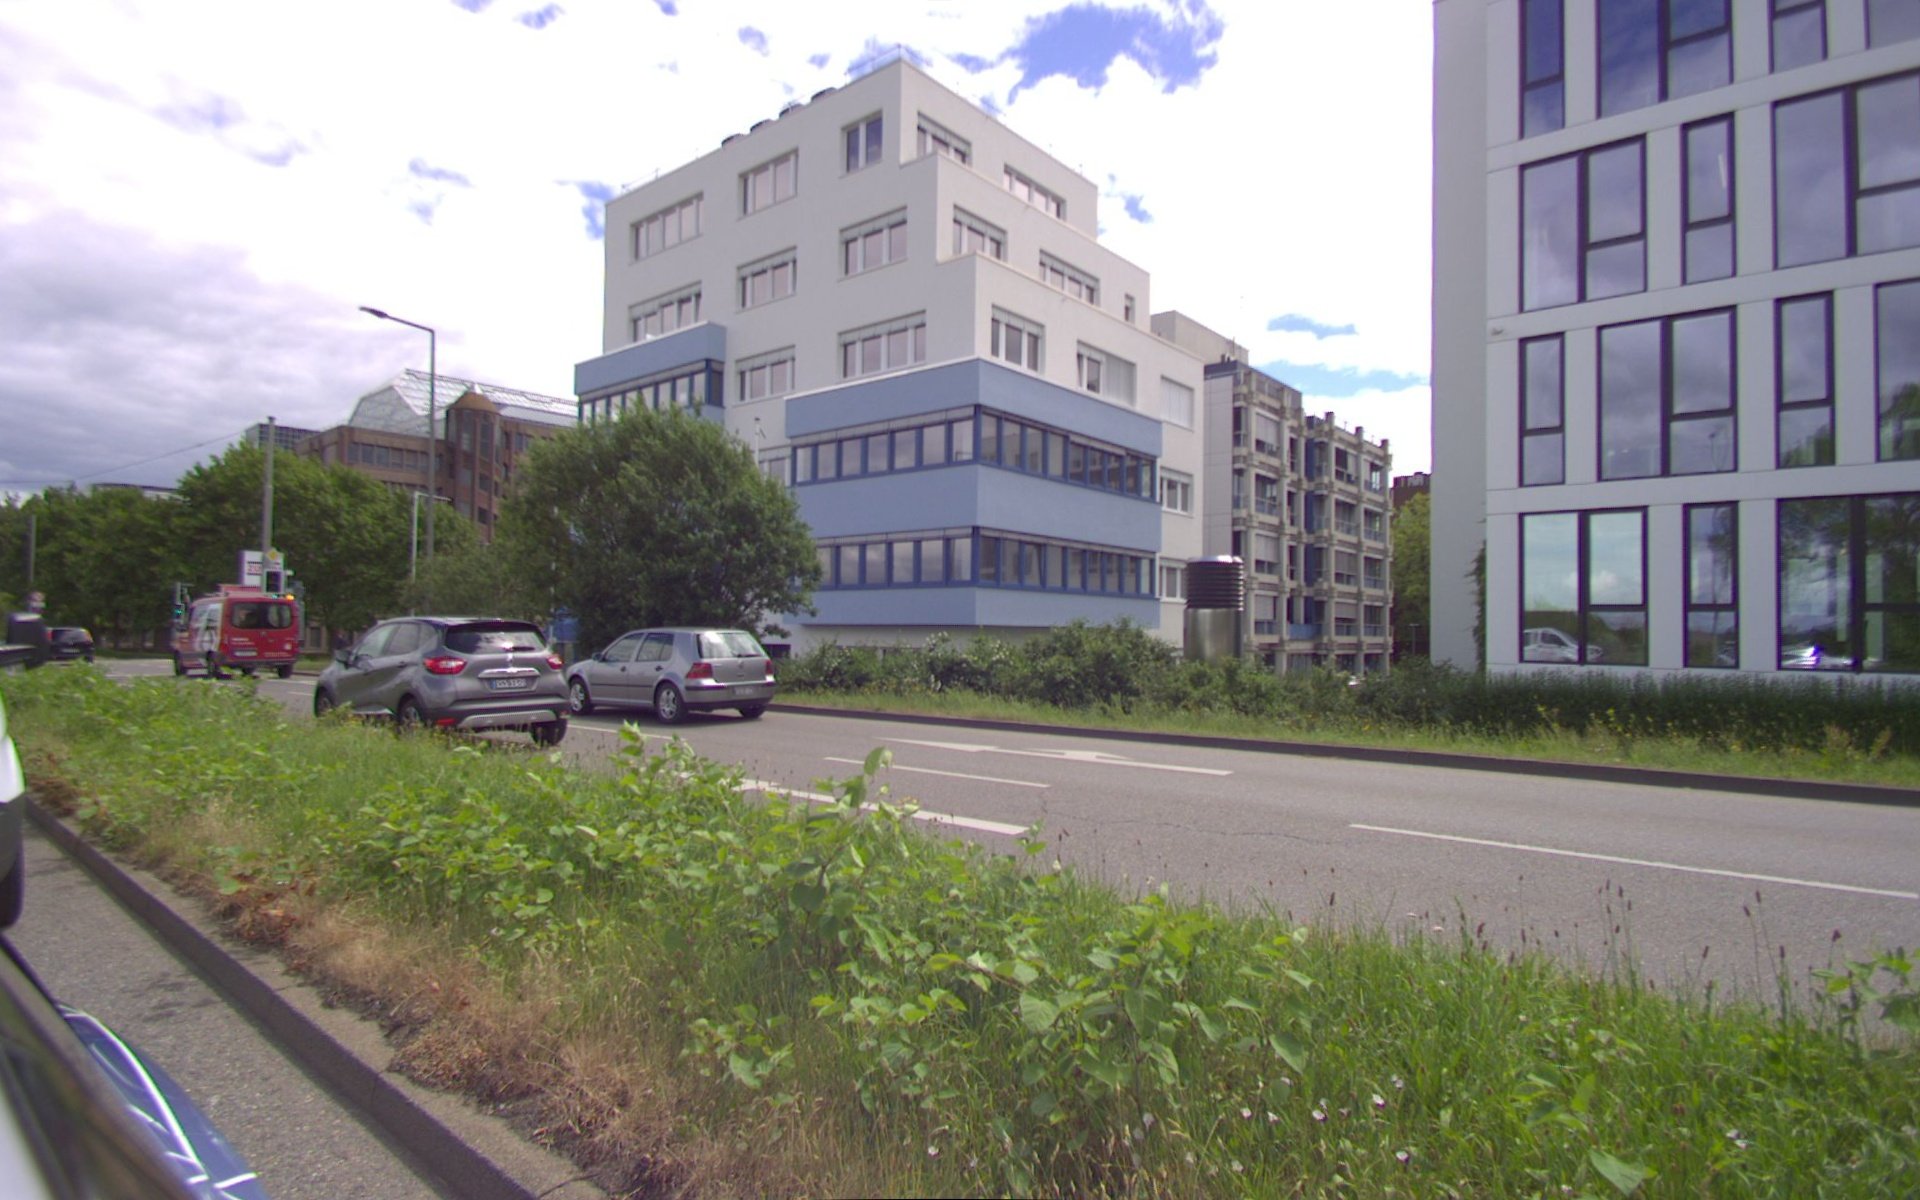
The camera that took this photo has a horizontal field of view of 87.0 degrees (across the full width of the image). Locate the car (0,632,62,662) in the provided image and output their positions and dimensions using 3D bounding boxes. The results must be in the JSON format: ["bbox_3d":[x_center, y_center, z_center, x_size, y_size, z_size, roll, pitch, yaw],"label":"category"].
[{"bbox_3d":[-45.705,2.279,49.677,3.997,1.409,1.913,-2,-2,41],"label":"car"}]

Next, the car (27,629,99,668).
[{"bbox_3d":[-36.330,1.922,40.961,3.998,1.494,1.661,-2,-2,41],"label":"car"}]

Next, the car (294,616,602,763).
[{"bbox_3d":[-6.415,0.989,12.540,3.995,1.528,1.916,-2,-2,39],"label":"car"}]

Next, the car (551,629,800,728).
[{"bbox_3d":[-4.603,1.165,16.140,3.998,1.364,1.973,-2,-2,41],"label":"car"}]

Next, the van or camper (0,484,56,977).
[{"bbox_3d":[-6.745,0.563,5.304,5.791,2.029,1.974,-1,-3,38],"label":"van or camper"}]

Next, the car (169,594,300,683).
[{"bbox_3d":[-21.581,1.118,30.016,5.237,2.430,1.973,-1,-2,41],"label":"car"}]
